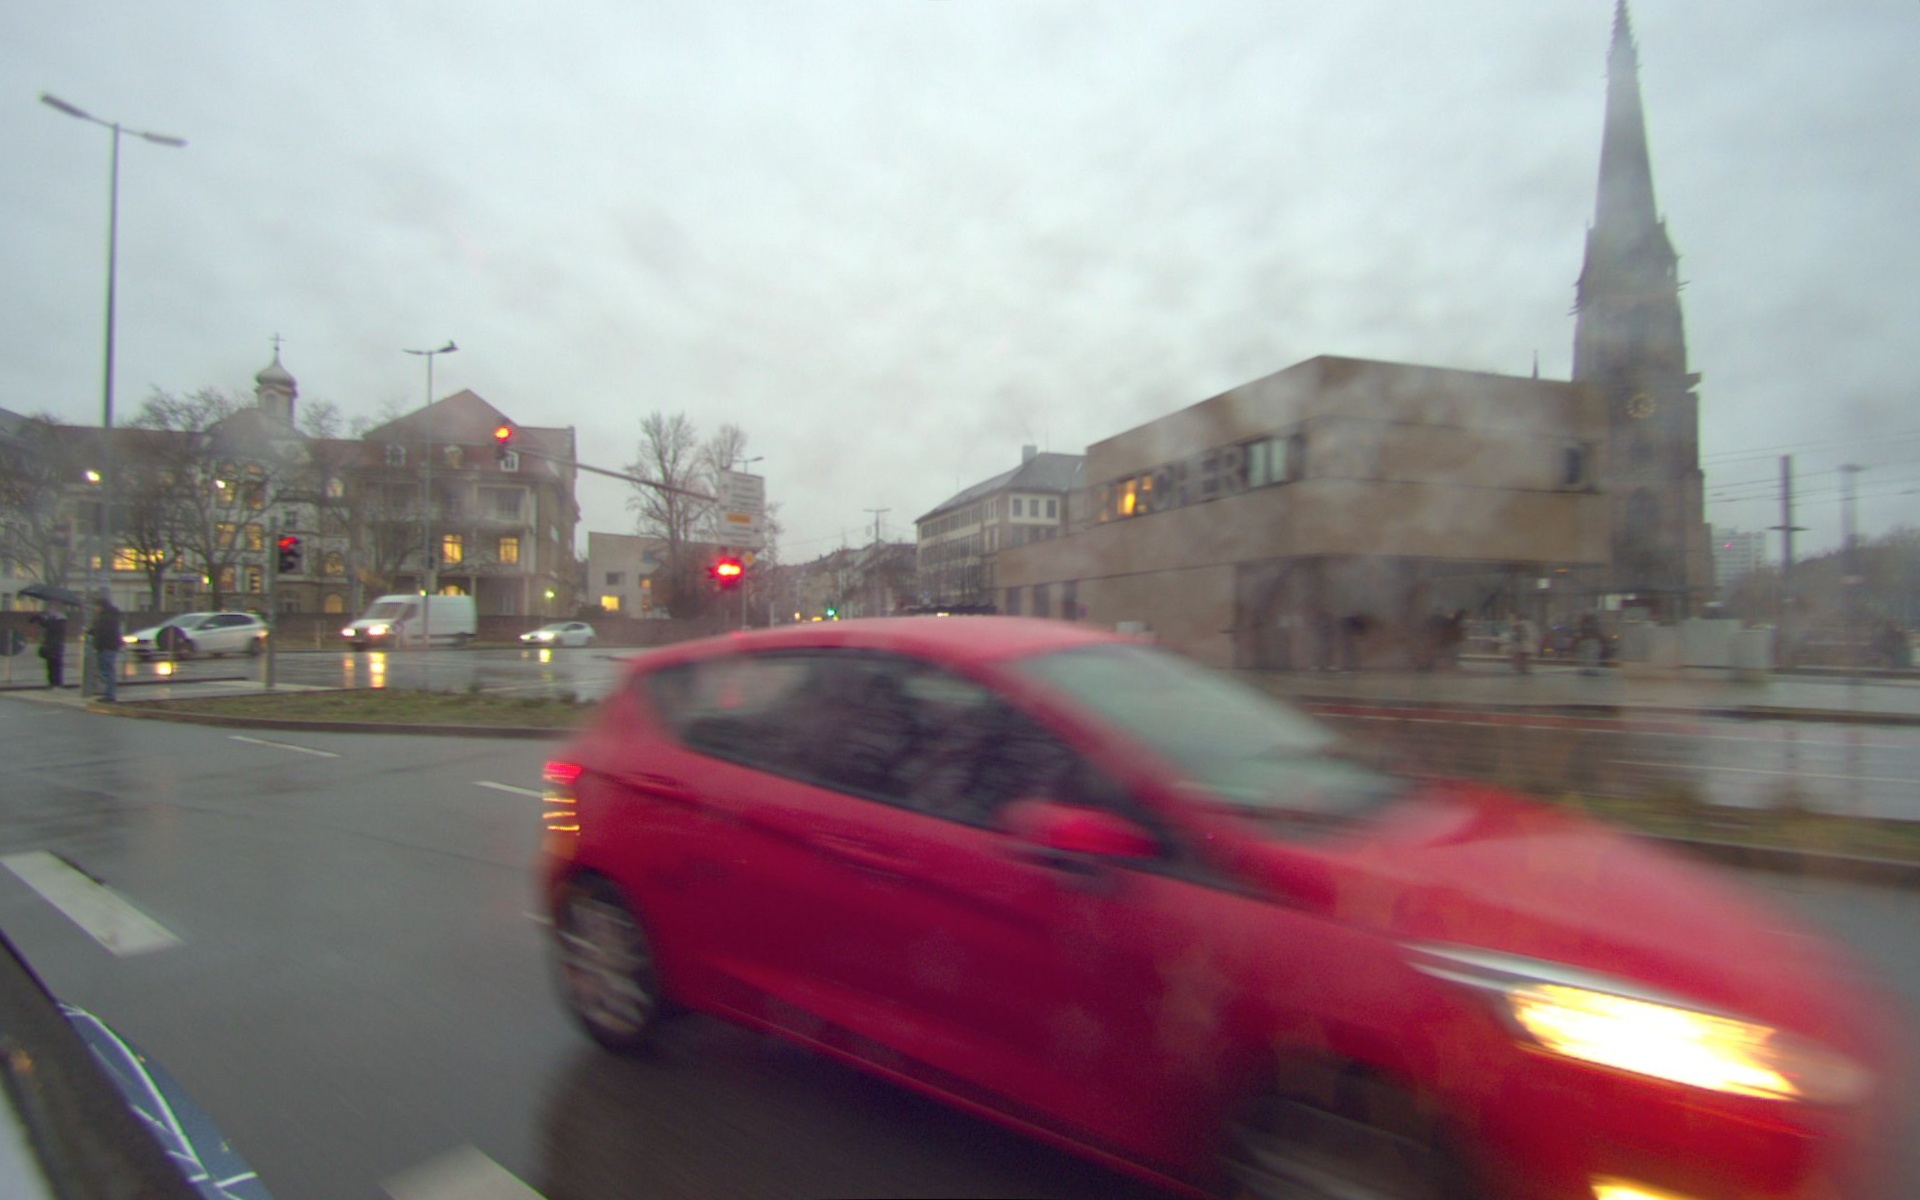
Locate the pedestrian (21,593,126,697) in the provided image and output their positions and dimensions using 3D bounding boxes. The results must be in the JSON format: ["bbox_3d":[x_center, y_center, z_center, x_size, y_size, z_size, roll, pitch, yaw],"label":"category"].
[{"bbox_3d":[-16.686,0.851,19.081,1.057,1.872,1.034,-2,-3,5],"label":"pedestrian"}]

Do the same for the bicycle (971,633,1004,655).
[{"bbox_3d":[1.391,2.228,51.362,0.597,1.113,2.759,-1,-2,-21],"label":"bicycle"}]

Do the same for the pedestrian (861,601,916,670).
[{"bbox_3d":[-2.021,1.026,28.844,1.224,1.872,1.029,-3,-3,18],"label":"pedestrian"}]

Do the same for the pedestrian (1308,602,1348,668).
[{"bbox_3d":[9.886,0.935,27.194,0.731,1.739,0.745,2,-3,-40],"label":"pedestrian"}]

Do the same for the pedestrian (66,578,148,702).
[{"bbox_3d":[-14.505,0.689,17.217,1.107,2.021,0.838,-4,-4,37],"label":"pedestrian"}]

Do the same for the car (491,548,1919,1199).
[{"bbox_3d":[0.375,0.689,3.135,3.865,1.493,1.685,-1,1,37],"label":"car"}]

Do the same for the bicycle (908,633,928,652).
[{"bbox_3d":[-2.610,2.654,62.877,0.636,1.113,2.758,-1,-3,-15],"label":"bicycle"}]

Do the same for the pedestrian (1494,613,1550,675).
[{"bbox_3d":[14.937,1.163,26.924,0.841,1.615,0.968,1,-3,-19],"label":"pedestrian"}]

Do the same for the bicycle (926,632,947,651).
[{"bbox_3d":[-1.454,2.622,63.084,0.636,1.113,2.758,-1,-3,-15],"label":"bicycle"}]

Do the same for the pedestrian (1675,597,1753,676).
[{"bbox_3d":[18.800,0.910,25.254,1.104,1.933,1.065,1,-2,-15],"label":"pedestrian"}]

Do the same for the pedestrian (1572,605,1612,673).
[{"bbox_3d":[16.556,1.018,26.531,0.758,1.764,0.794,-1,-3,24],"label":"pedestrian"}]

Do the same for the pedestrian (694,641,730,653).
[{"bbox_3d":[-21.813,4.155,88.967,3.048,0.937,0.951,-1,-3,-13],"label":"pedestrian"}]

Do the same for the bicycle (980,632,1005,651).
[{"bbox_3d":[2.040,2.665,64.449,0.636,1.113,2.759,-1,-3,-18],"label":"bicycle"}]

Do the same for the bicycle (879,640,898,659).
[{"bbox_3d":[-4.415,3.025,62.201,0.636,1.113,2.758,-1,-3,-15],"label":"bicycle"}]

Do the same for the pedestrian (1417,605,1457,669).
[{"bbox_3d":[13.259,1.040,28.123,0.731,1.739,0.745,2,-3,-40],"label":"pedestrian"}]

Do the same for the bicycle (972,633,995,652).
[{"bbox_3d":[1.418,2.612,62.375,0.636,1.113,2.758,-1,-3,-15],"label":"bicycle"}]

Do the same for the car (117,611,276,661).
[{"bbox_3d":[-25.936,1.243,34.595,1.737,1.515,4.302,-3,-3,11],"label":"car"}]

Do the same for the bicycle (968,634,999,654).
[{"bbox_3d":[1.342,2.543,58.157,0.636,1.113,2.760,-1,-2,-24],"label":"bicycle"}]

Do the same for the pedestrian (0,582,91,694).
[{"bbox_3d":[-17.836,0.743,19.562,1.022,2.065,1.213,-2,-3,6],"label":"pedestrian"}]

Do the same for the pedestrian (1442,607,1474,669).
[{"bbox_3d":[14.215,1.086,28.894,0.741,1.739,0.734,-1,-3,32],"label":"pedestrian"}]

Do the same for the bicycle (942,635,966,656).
[{"bbox_3d":[-0.354,2.537,55.799,0.636,1.113,2.758,-1,-3,-15],"label":"bicycle"}]

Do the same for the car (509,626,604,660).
[{"bbox_3d":[-21.010,2.228,52.919,1.826,1.656,4.782,0,-2,21],"label":"car"}]

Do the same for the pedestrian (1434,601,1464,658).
[{"bbox_3d":[15.086,0.905,31.214,0.742,1.739,0.734,-1,-3,34],"label":"pedestrian"}]

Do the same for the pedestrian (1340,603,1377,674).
[{"bbox_3d":[10.147,0.981,25.789,0.828,1.781,0.656,-1,-3,25],"label":"pedestrian"}]

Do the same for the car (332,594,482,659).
[{"bbox_3d":[-23.805,1.174,43.889,2.327,2.537,5.836,-3,-3,16],"label":"car"}]
